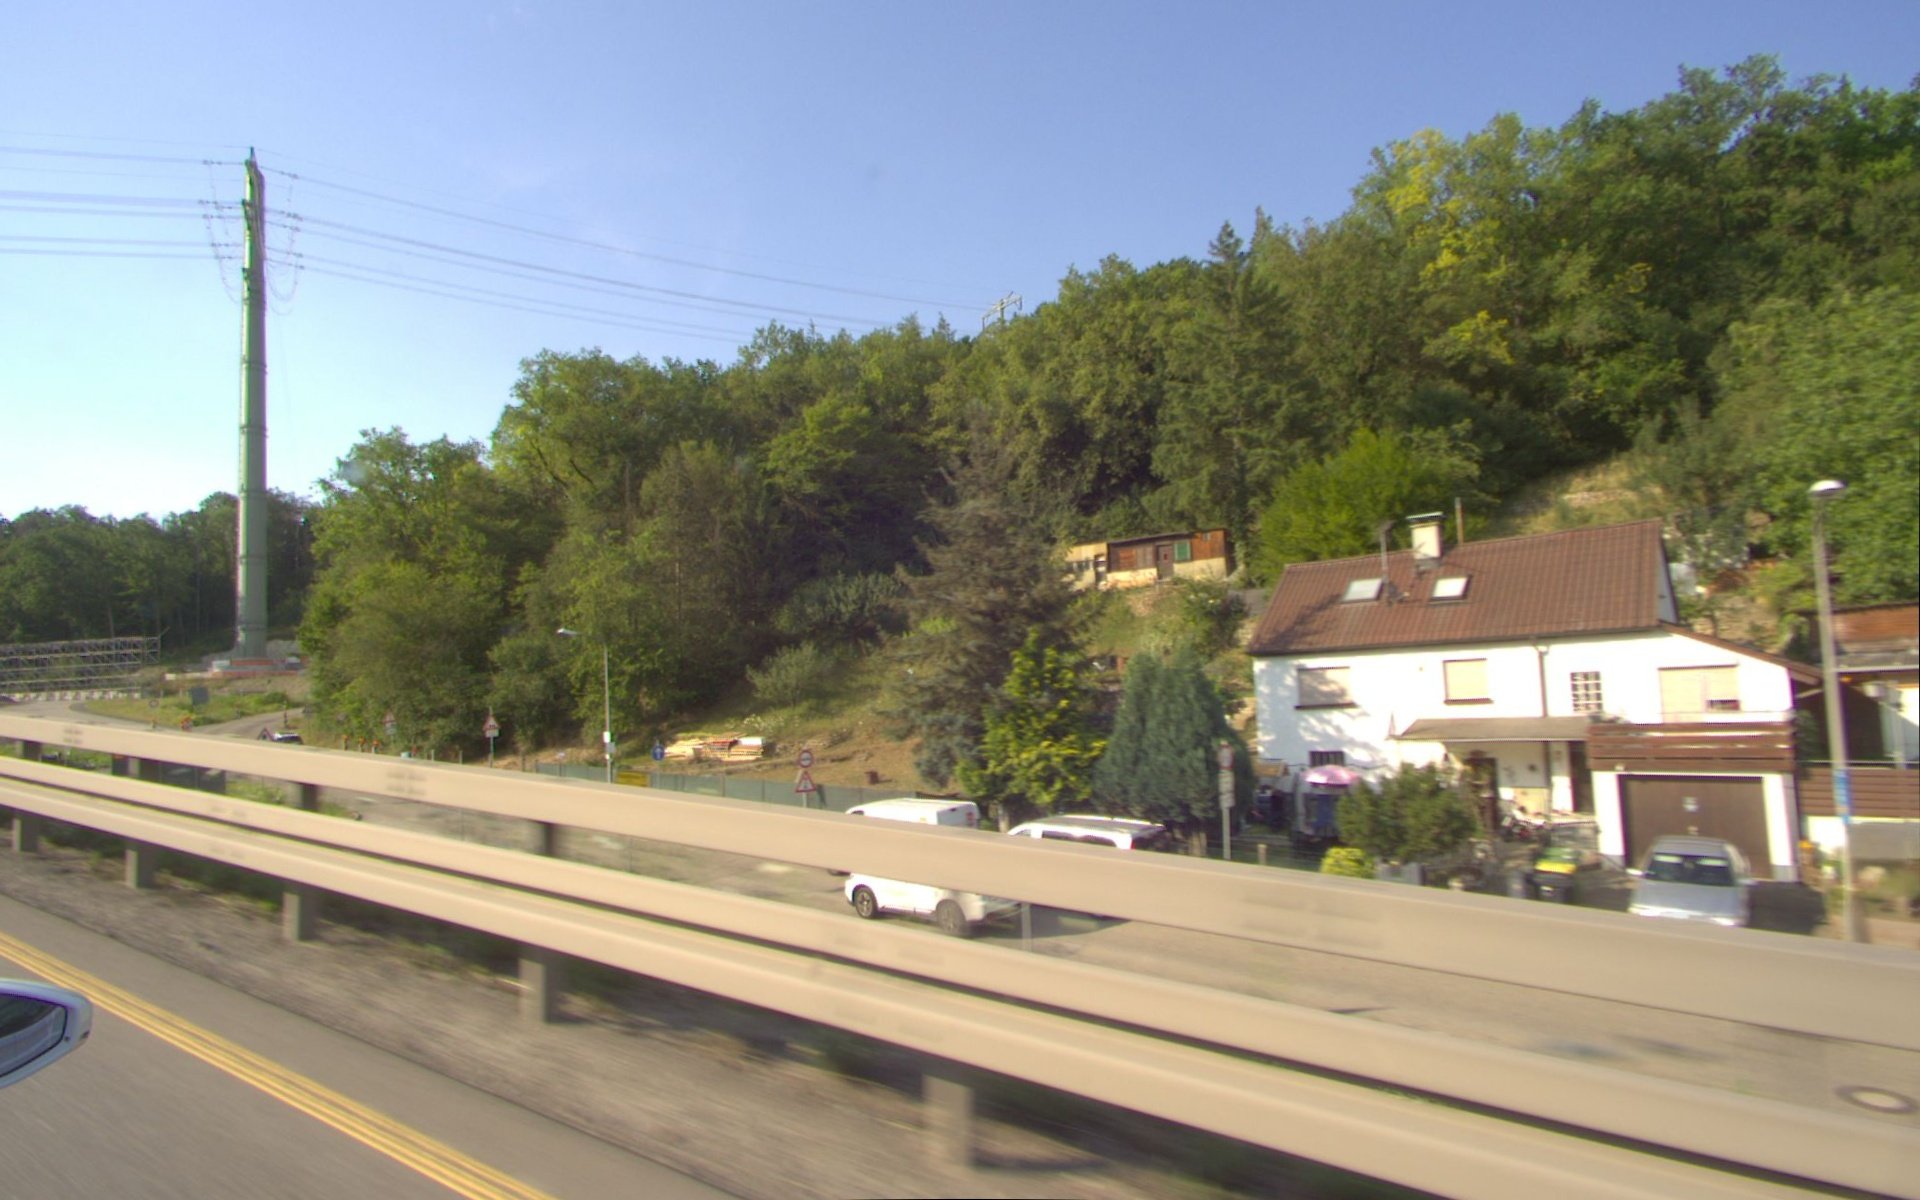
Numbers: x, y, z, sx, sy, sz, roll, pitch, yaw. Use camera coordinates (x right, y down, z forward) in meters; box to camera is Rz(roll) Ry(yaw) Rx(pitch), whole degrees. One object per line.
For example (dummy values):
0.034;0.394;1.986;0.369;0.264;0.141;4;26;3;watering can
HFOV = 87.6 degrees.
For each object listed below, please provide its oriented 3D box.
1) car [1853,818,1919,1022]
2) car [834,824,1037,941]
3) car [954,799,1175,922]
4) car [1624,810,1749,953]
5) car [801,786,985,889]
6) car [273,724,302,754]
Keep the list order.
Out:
16.609;5.269;16.815;1.976;2.291;5.447;-3;-4;38;car
-0.618;6.083;21.987;4.421;1.682;1.661;-4;-3;40;car
2.319;5.890;23.207;4.812;1.940;1.986;-5;-3;42;car
14.165;5.276;19.419;1.695;1.575;5.072;-4;-4;38;car
-1.875;6.261;26.937;4.995;2.010;1.854;-5;-3;39;car
-44.933;9.251;66.860;1.511;1.479;4.240;0;-2;-35;car
